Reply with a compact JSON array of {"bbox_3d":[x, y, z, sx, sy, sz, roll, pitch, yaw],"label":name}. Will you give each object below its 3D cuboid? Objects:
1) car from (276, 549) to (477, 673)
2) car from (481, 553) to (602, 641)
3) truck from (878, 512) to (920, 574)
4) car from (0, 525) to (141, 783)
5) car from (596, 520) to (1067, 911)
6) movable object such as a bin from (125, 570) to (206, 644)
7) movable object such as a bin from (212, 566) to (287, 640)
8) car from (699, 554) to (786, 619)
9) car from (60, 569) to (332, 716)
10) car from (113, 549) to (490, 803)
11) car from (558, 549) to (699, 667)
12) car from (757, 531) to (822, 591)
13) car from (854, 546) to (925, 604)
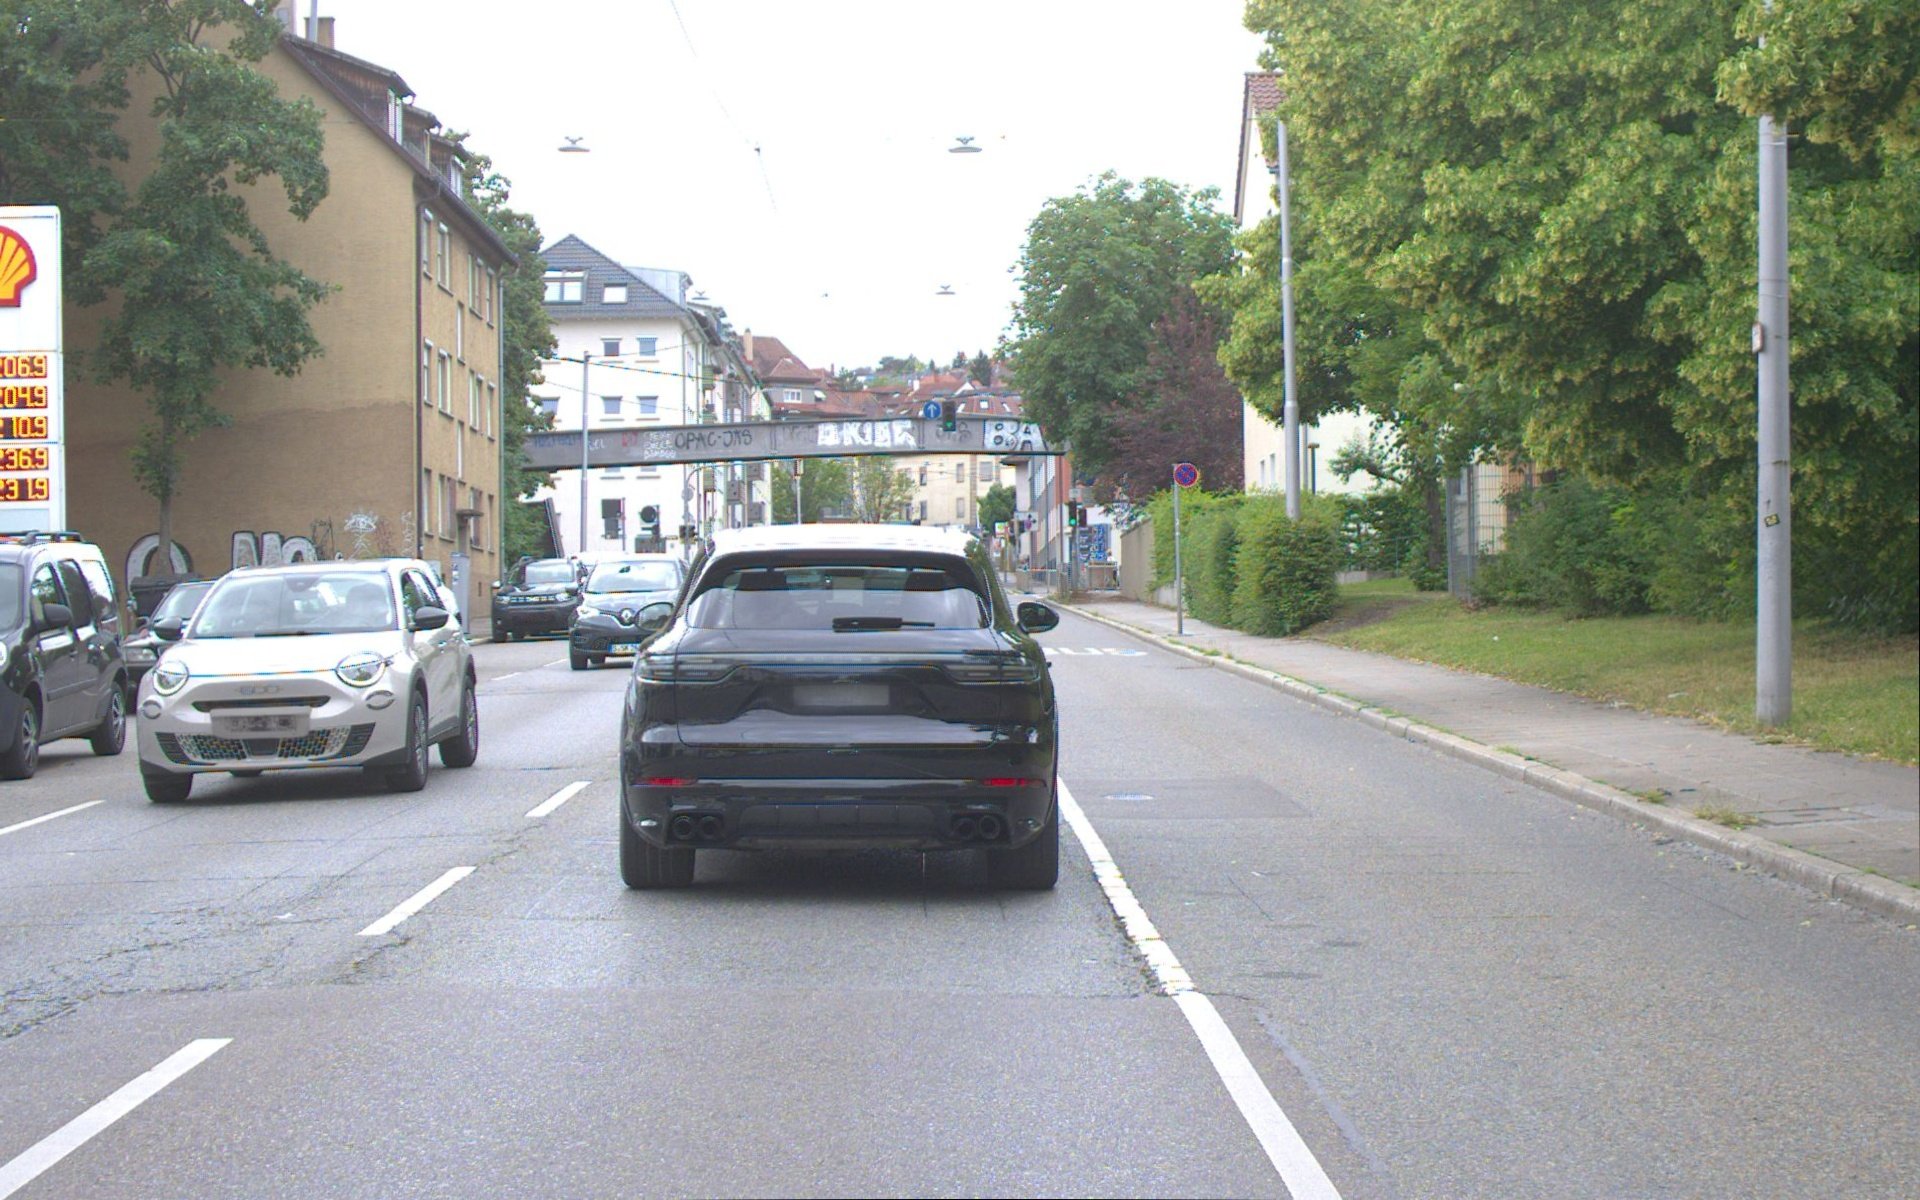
[{"bbox_3d":[-7.913,0.111,47.001,1.915,1.572,4.700,-1,1,0],"label":"car"},{"bbox_3d":[-8.359,-0.085,68.981,1.783,1.603,4.264,-3,1,1],"label":"car"},{"bbox_3d":[-3.483,-3.198,195.869,2.266,3.413,9.879,-1,1,-1],"label":"truck"},{"bbox_3d":[-7.775,0.376,26.641,1.851,1.829,4.702,-2,1,-2],"label":"car"},{"bbox_3d":[-0.556,0.444,16.612,1.993,1.656,4.000,0,1,0],"label":"car"},{"bbox_3d":[-15.444,0.135,66.857,1.392,1.423,0.913,0,1,-3],"label":"movable object such as a bin"},{"bbox_3d":[-13.763,0.050,66.618,1.281,1.423,1.279,0,1,-5],"label":"movable object such as a bin"},{"bbox_3d":[-5.161,-0.354,81.993,1.778,1.461,4.499,-1,1,0],"label":"car"},{"bbox_3d":[-8.355,0.420,38.006,1.798,1.426,4.743,-2,1,2],"label":"car"},{"bbox_3d":[-4.367,0.440,23.380,1.797,1.520,4.000,-2,1,-1],"label":"car"},{"bbox_3d":[-4.646,0.082,48.534,1.683,1.550,3.719,-2,1,-2],"label":"car"},{"bbox_3d":[-5.508,-1.280,111.424,1.931,1.894,4.590,-1,1,-1],"label":"car"},{"bbox_3d":[-1.777,-0.654,87.746,1.741,1.395,4.000,0,1,0],"label":"car"}]
